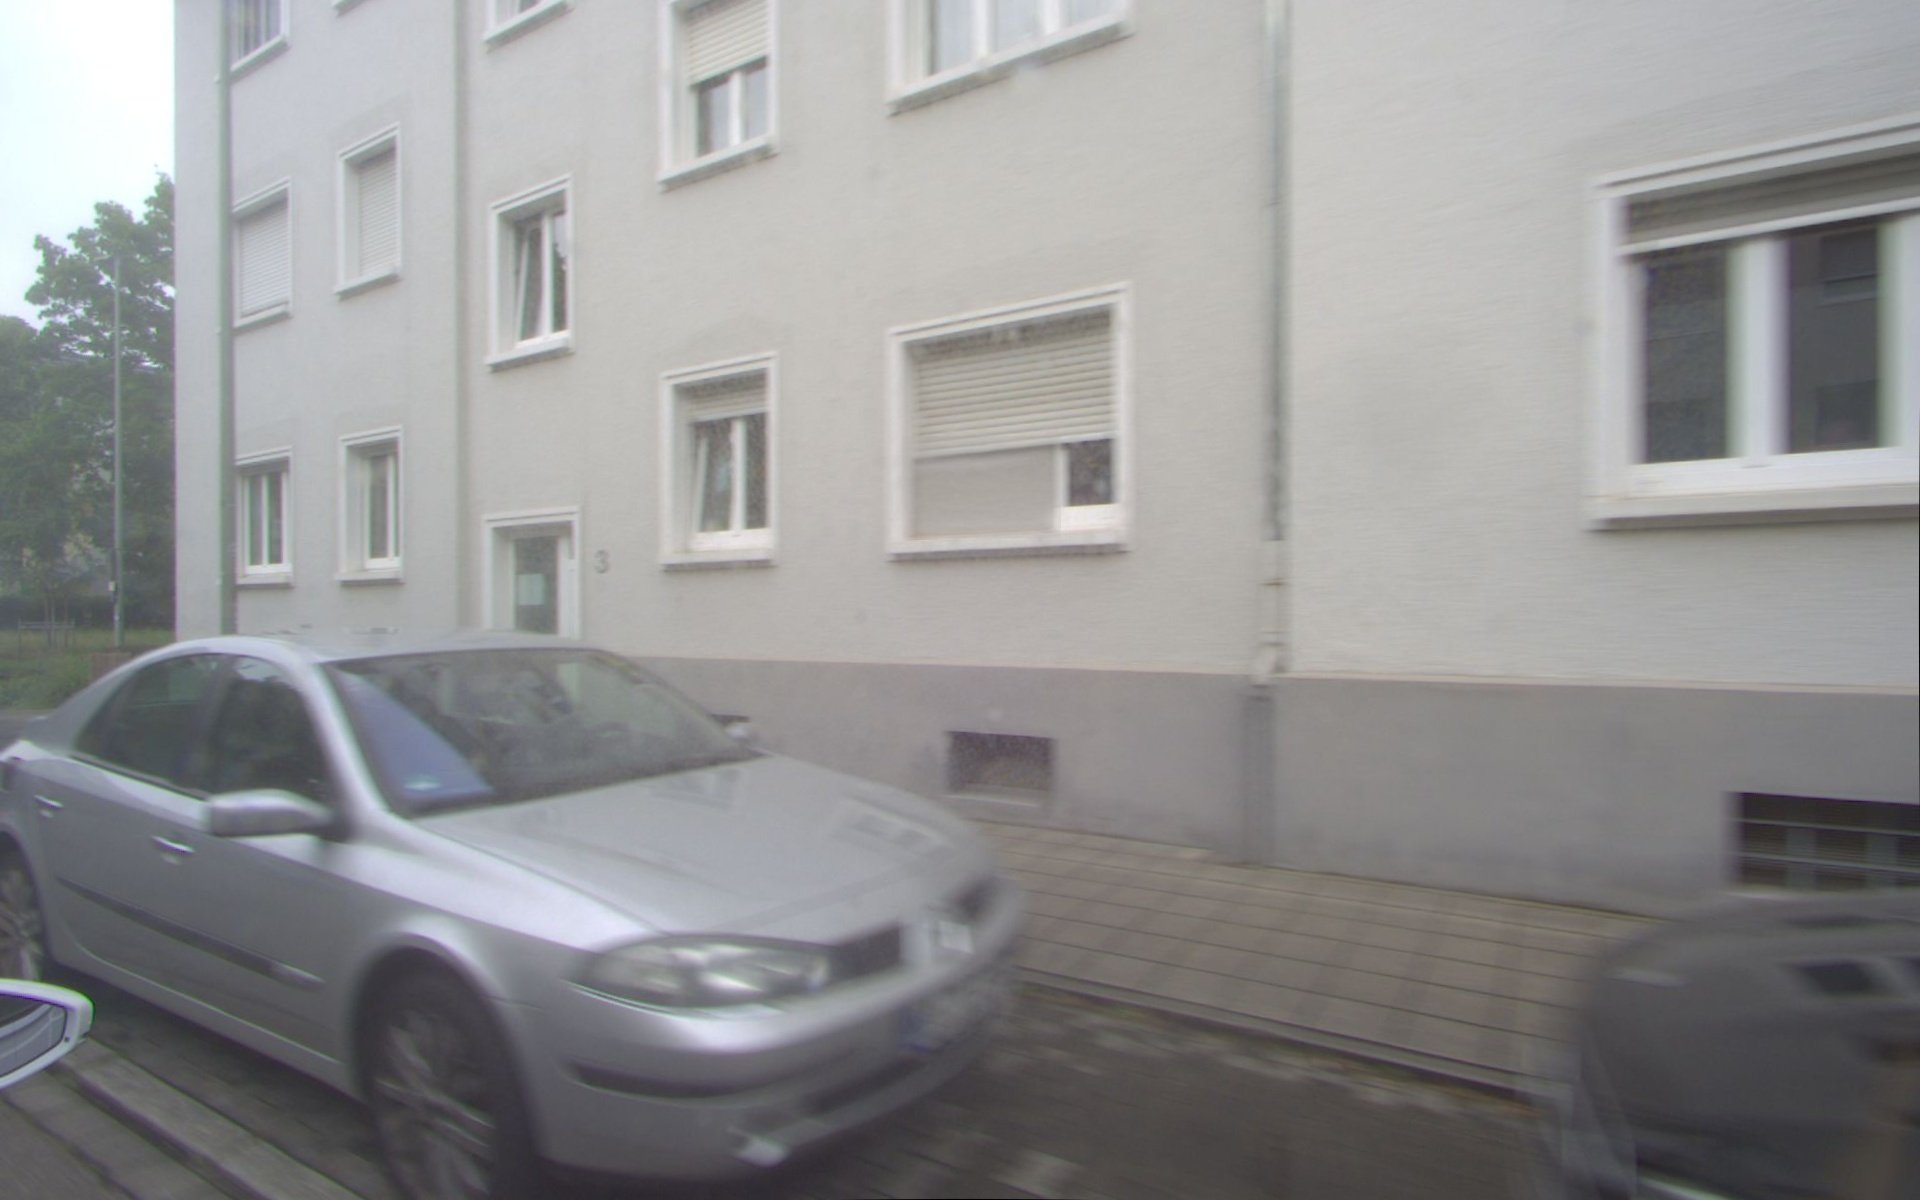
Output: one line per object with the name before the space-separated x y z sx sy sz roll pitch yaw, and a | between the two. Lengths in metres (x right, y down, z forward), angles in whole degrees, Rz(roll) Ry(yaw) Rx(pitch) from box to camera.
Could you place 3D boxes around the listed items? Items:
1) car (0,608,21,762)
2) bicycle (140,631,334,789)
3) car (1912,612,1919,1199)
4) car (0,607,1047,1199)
car | -11.620 0.827 10.161 4.656 1.482 1.857 0 0 31
bicycle | -6.442 0.913 8.899 1.868 1.217 0.747 0 2 33
car | 3.530 0.756 0.389 4.259 1.482 1.779 0 0 31
car | -2.012 0.774 3.761 4.365 1.482 1.730 0 0 31
